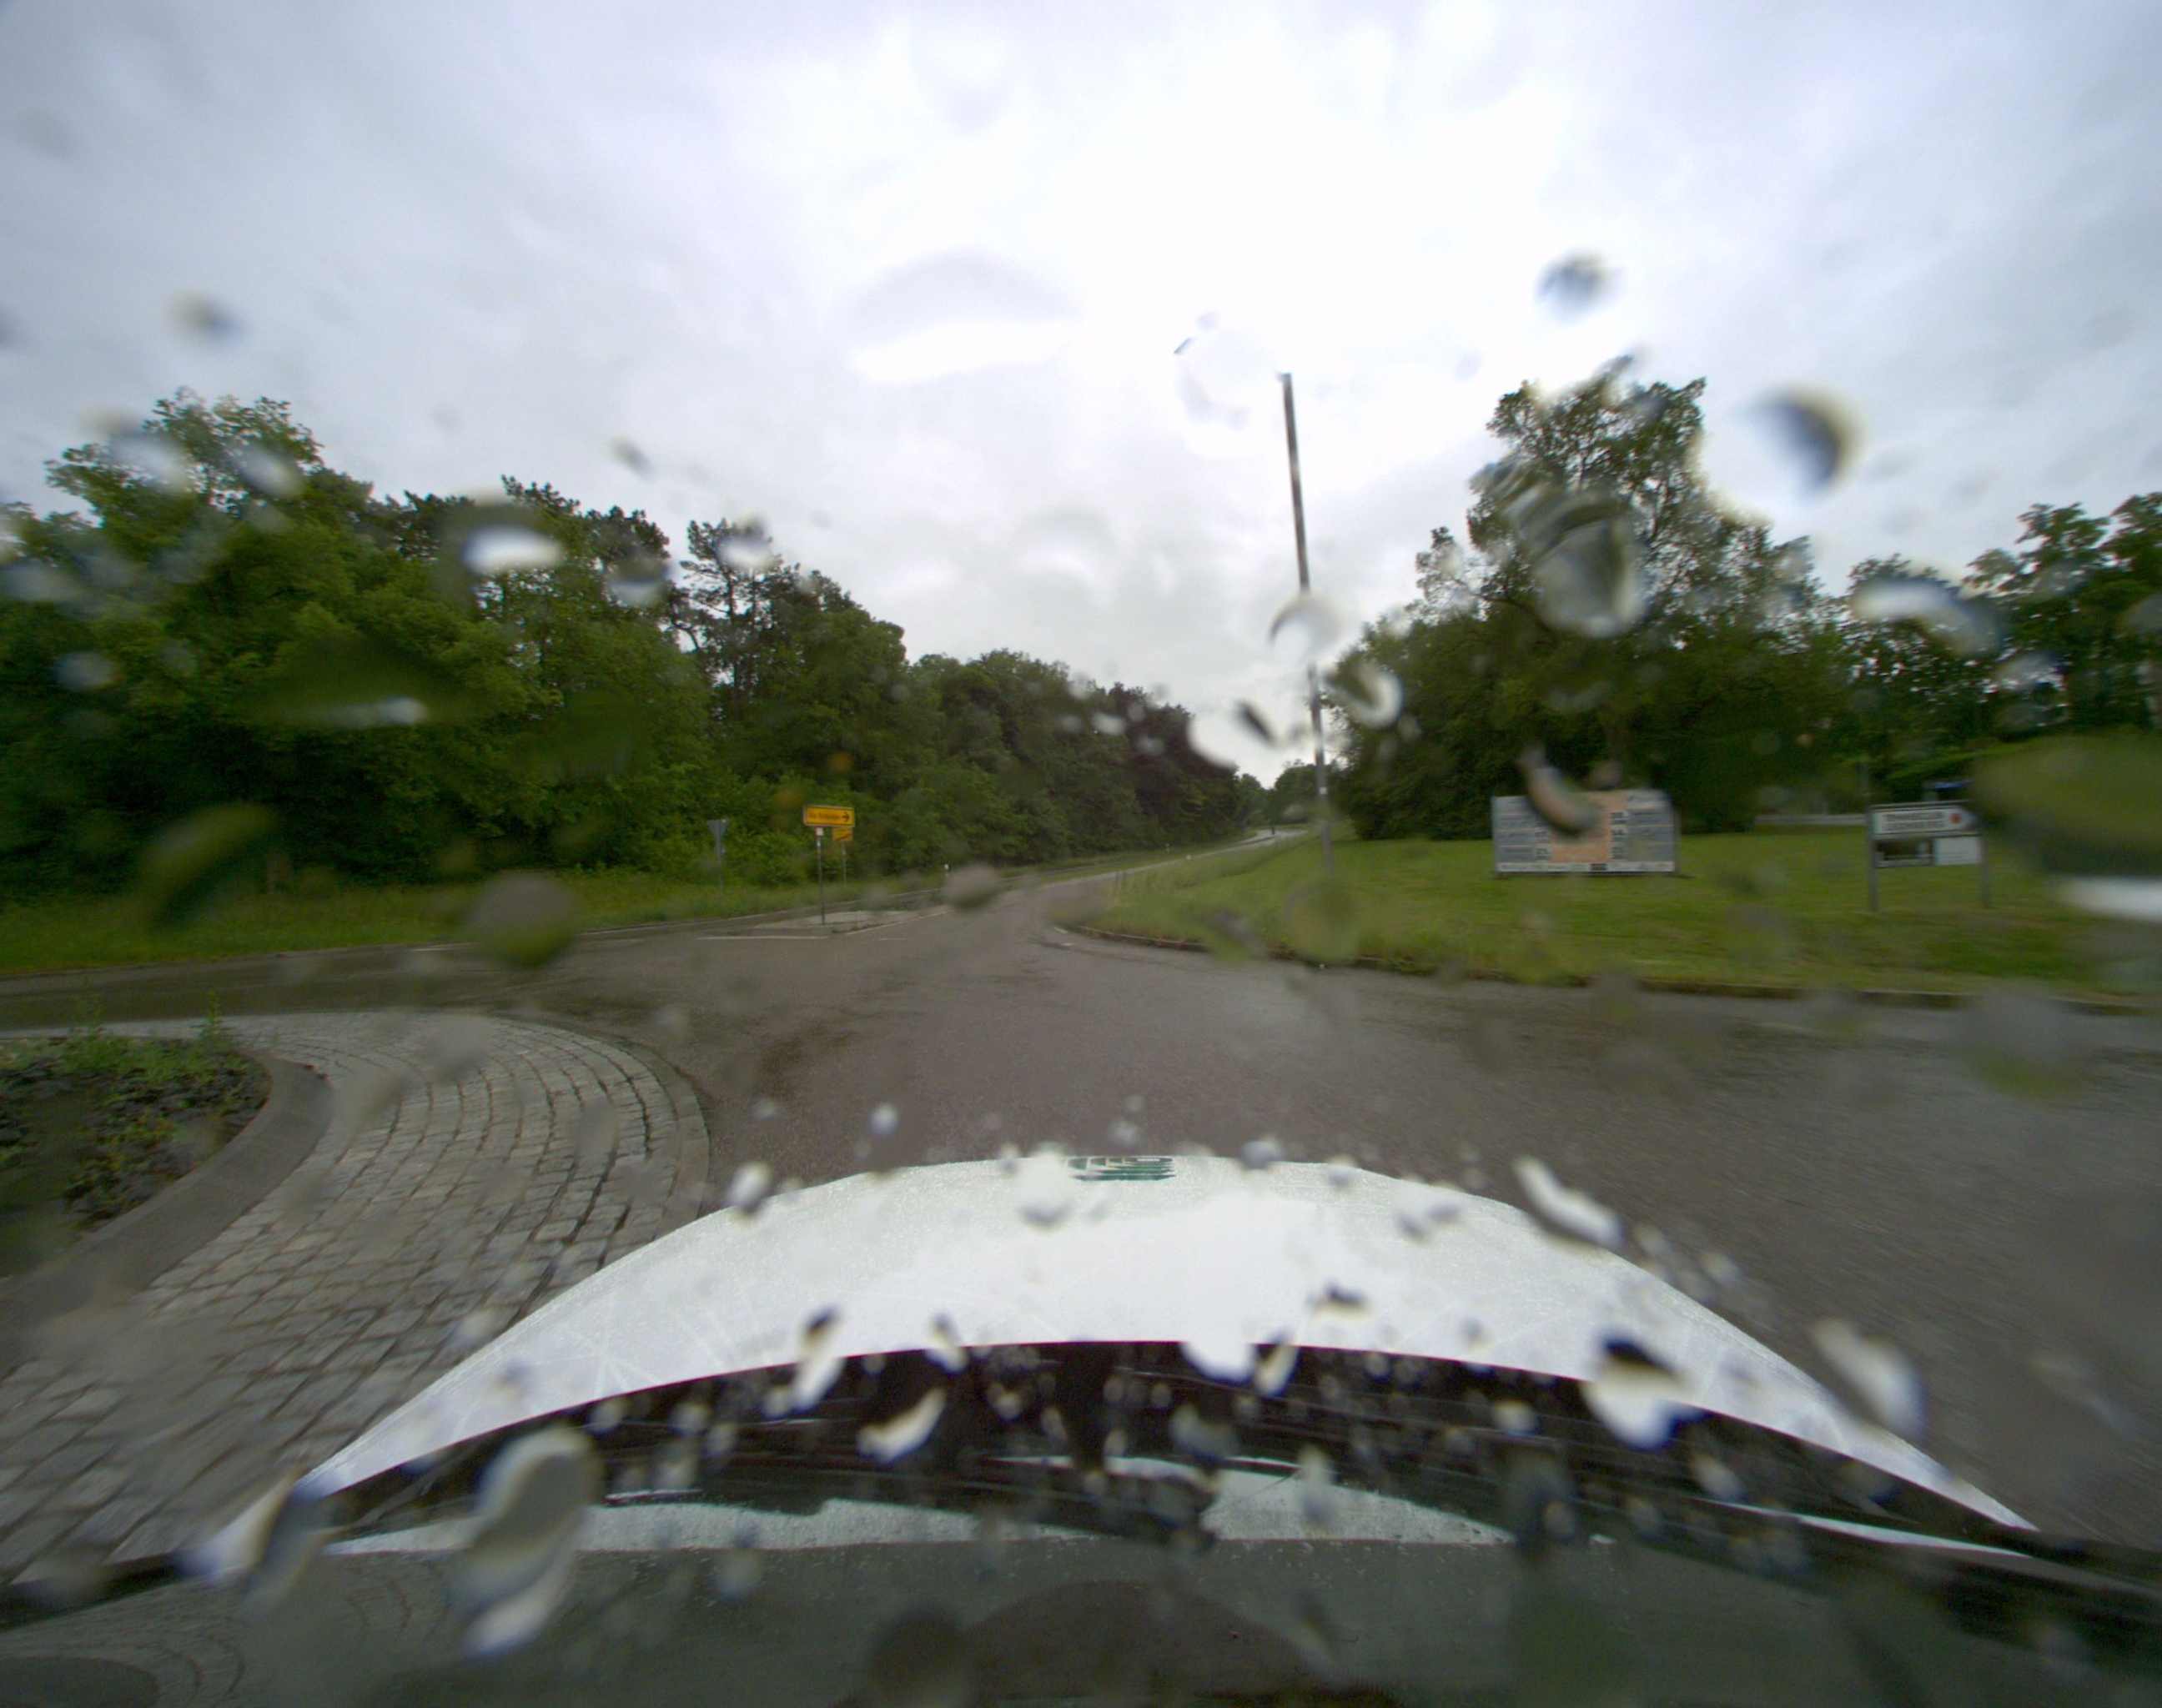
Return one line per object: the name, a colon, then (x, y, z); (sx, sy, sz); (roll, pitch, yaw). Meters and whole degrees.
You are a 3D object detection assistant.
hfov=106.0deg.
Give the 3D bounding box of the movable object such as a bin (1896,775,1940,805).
movable object such as a bin: (44.778, -3.399, 43.588); (1.183, 1.437, 1.437); (-3, 0, 25)
